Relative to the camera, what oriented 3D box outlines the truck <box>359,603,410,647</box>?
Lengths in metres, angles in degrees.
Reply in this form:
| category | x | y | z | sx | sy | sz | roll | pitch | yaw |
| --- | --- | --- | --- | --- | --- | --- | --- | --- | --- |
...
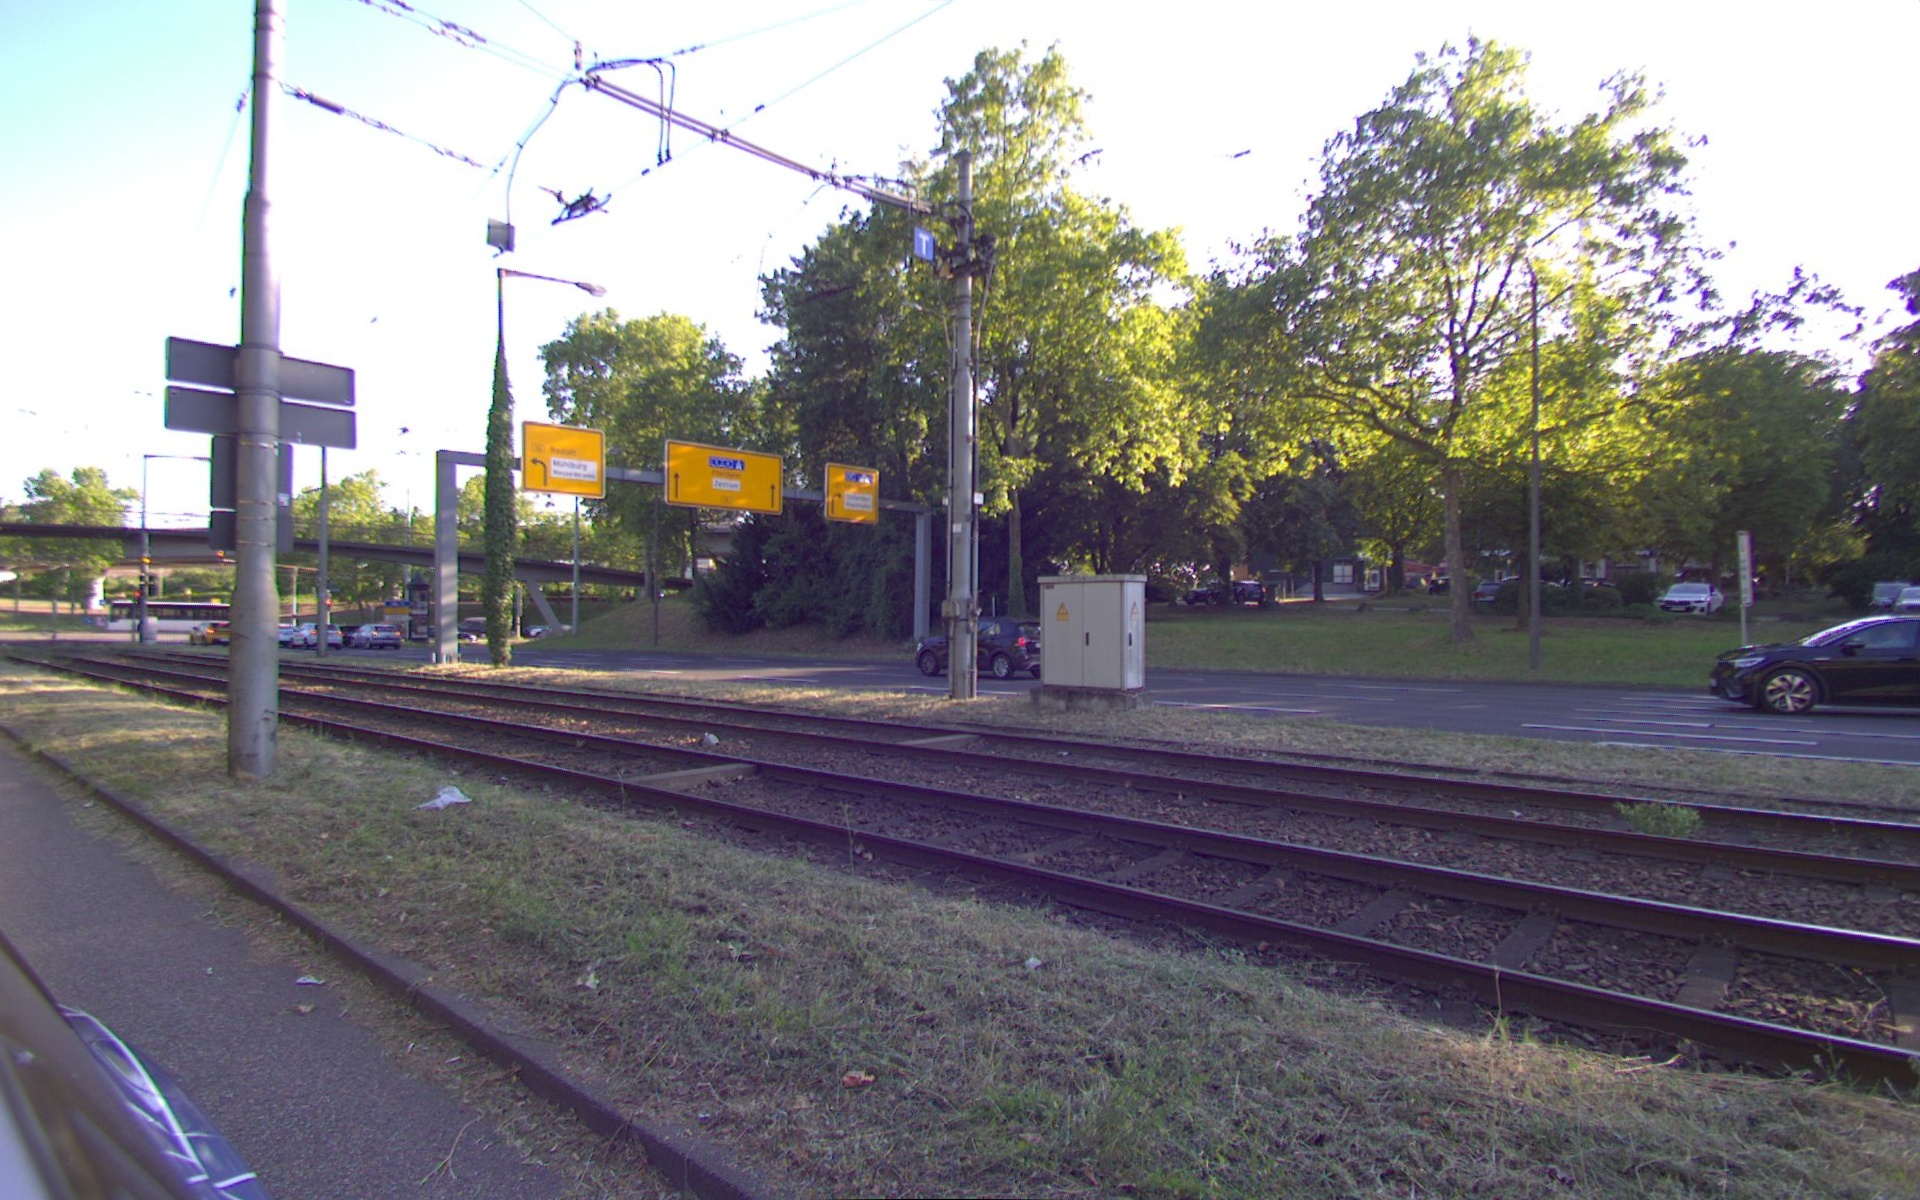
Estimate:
| category | x | y | z | sx | sy | sz | roll | pitch | yaw |
| --- | --- | --- | --- | --- | --- | --- | --- | --- | --- |
| truck | -40.298 | 1.729 | 70.775 | 2.248 | 2.901 | 6.895 | 0 | -1 | -37 |

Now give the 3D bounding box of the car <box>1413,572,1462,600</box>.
| category | x | y | z | sx | sy | sz | roll | pitch | yaw |
| --- | --- | --- | --- | --- | --- | --- | --- | --- | --- |
| car | 33.561 | -1.014 | 71.063 | 2.290 | 1.864 | 5.214 | -1 | 1 | 34 |

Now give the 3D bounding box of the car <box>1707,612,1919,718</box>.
| category | x | y | z | sx | sy | sz | roll | pitch | yaw |
| --- | --- | --- | --- | --- | --- | --- | --- | --- | --- |
| car | 14.488 | 0.977 | 15.753 | 4.311 | 1.556 | 1.722 | -1 | -2 | 26 |

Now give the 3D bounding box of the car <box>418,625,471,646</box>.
| category | x | y | z | sx | sy | sz | roll | pitch | yaw |
| --- | --- | --- | --- | --- | --- | --- | --- | --- | --- |
| car | -43.420 | 2.961 | 85.266 | 3.931 | 1.668 | 1.790 | -1 | 0 | -28 |

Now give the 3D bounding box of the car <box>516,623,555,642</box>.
| category | x | y | z | sx | sy | sz | roll | pitch | yaw |
| --- | --- | --- | --- | --- | --- | --- | --- | --- | --- |
| car | -46.138 | 3.492 | 110.069 | 3.748 | 1.872 | 1.682 | -1 | 0 | -30 |

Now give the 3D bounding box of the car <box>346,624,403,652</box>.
| category | x | y | z | sx | sy | sz | roll | pitch | yaw |
| --- | --- | --- | --- | --- | --- | --- | --- | --- | --- |
| car | -34.965 | 2.256 | 60.427 | 3.998 | 1.556 | 1.789 | -1 | -1 | 41 |

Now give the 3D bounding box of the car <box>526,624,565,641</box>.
| category | x | y | z | sx | sy | sz | roll | pitch | yaw |
| --- | --- | --- | --- | --- | --- | --- | --- | --- | --- |
| car | -43.933 | 3.433 | 107.285 | 3.747 | 1.591 | 1.683 | -1 | 0 | -26 |

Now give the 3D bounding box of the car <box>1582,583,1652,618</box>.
| category | x | y | z | sx | sy | sz | roll | pitch | yaw |
| --- | --- | --- | --- | --- | --- | --- | --- | --- | --- |
| car | 30.038 | -0.009 | 46.223 | 1.942 | 1.521 | 4.039 | 0 | 0 | 44 |

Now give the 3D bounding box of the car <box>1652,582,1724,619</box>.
| category | x | y | z | sx | sy | sz | roll | pitch | yaw |
| --- | --- | --- | --- | --- | --- | --- | --- | --- | --- |
| car | 31.565 | -0.012 | 43.847 | 1.942 | 1.521 | 4.039 | 0 | 0 | 44 |

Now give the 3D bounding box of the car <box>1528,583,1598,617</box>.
| category | x | y | z | sx | sy | sz | roll | pitch | yaw |
| --- | --- | --- | --- | --- | --- | --- | --- | --- | --- |
| car | 28.429 | 0.000 | 47.660 | 1.942 | 1.521 | 4.039 | 0 | 0 | 44 |

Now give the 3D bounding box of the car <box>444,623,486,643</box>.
| category | x | y | z | sx | sy | sz | roll | pitch | yaw |
| --- | --- | --- | --- | --- | --- | --- | --- | --- | --- |
| car | -50.808 | 3.387 | 103.933 | 3.748 | 1.872 | 1.682 | -1 | 0 | -30 |

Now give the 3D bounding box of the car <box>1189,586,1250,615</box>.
| category | x | y | z | sx | sy | sz | roll | pitch | yaw |
| --- | --- | --- | --- | --- | --- | --- | --- | --- | --- |
| car | 15.400 | 0.046 | 59.961 | 1.791 | 1.657 | 3.942 | -1 | -1 | 44 |

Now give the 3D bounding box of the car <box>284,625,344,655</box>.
| category | x | y | z | sx | sy | sz | roll | pitch | yaw |
| --- | --- | --- | --- | --- | --- | --- | --- | --- | --- |
| car | -35.737 | 2.194 | 55.963 | 3.997 | 1.556 | 1.744 | -1 | -1 | 40 |

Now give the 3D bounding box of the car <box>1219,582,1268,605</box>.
| category | x | y | z | sx | sy | sz | roll | pitch | yaw |
| --- | --- | --- | --- | --- | --- | --- | --- | --- | --- |
| car | 19.050 | -0.454 | 68.258 | 1.647 | 1.474 | 3.734 | 0 | 1 | -12 |

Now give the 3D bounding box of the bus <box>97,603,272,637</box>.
| category | x | y | z | sx | sy | sz | roll | pitch | yaw |
| --- | --- | --- | --- | --- | --- | --- | --- | --- | --- |
| bus | -73.294 | 1.863 | 96.176 | 12.967 | 2.884 | 2.424 | -1 | 0 | -29 |

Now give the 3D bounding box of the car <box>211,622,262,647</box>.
| category | x | y | z | sx | sy | sz | roll | pitch | yaw |
| --- | --- | --- | --- | --- | --- | --- | --- | --- | --- |
| car | -45.833 | 2.173 | 64.052 | 4.228 | 1.561 | 1.892 | -1 | -2 | 44 |

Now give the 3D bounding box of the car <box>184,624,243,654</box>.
| category | x | y | z | sx | sy | sz | roll | pitch | yaw |
| --- | --- | --- | --- | --- | --- | --- | --- | --- | --- |
| car | -40.800 | 2.114 | 55.263 | 3.997 | 1.556 | 1.744 | -1 | -1 | 40 |

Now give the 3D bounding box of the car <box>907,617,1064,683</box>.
| category | x | y | z | sx | sy | sz | roll | pitch | yaw |
| --- | --- | --- | --- | --- | --- | --- | --- | --- | --- |
| car | 0.608 | 1.266 | 26.327 | 3.972 | 1.569 | 1.732 | -2 | -3 | 43 |

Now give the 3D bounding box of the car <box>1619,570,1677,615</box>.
| category | x | y | z | sx | sy | sz | roll | pitch | yaw |
| --- | --- | --- | --- | --- | --- | --- | --- | --- | --- |
| car | 36.890 | -0.417 | 54.241 | 2.161 | 2.320 | 4.348 | 0 | 0 | 40 |

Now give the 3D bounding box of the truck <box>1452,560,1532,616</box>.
| category | x | y | z | sx | sy | sz | roll | pitch | yaw |
| --- | --- | --- | --- | --- | --- | --- | --- | --- | --- |
| truck | 31.747 | -0.706 | 60.287 | 2.503 | 3.191 | 6.137 | 0 | 0 | 45 |

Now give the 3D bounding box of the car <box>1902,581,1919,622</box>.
| category | x | y | z | sx | sy | sz | roll | pitch | yaw |
| --- | --- | --- | --- | --- | --- | --- | --- | --- | --- |
| car | 37.584 | 0.021 | 38.895 | 1.942 | 1.521 | 4.039 | 0 | 0 | 44 |

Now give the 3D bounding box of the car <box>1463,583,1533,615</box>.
| category | x | y | z | sx | sy | sz | roll | pitch | yaw |
| --- | --- | --- | --- | --- | --- | --- | --- | --- | --- |
| car | 26.174 | -0.059 | 49.189 | 1.942 | 1.521 | 4.039 | 0 | 0 | 44 |

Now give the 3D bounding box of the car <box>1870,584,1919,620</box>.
| category | x | y | z | sx | sy | sz | roll | pitch | yaw |
| --- | --- | --- | --- | --- | --- | --- | --- | --- | --- |
| car | 43.972 | 0.078 | 47.228 | 3.998 | 1.628 | 1.864 | -1 | 0 | -43 |

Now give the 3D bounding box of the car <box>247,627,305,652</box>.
| category | x | y | z | sx | sy | sz | roll | pitch | yaw |
| --- | --- | --- | --- | --- | --- | --- | --- | --- | --- |
| car | -40.570 | 2.325 | 59.962 | 4.226 | 1.435 | 1.893 | -1 | -1 | 42 |

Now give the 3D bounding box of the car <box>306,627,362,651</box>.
| category | x | y | z | sx | sy | sz | roll | pitch | yaw |
| --- | --- | --- | --- | --- | --- | --- | --- | --- | --- |
| car | -39.757 | 2.430 | 64.236 | 4.224 | 1.435 | 1.844 | -1 | -1 | 40 |
